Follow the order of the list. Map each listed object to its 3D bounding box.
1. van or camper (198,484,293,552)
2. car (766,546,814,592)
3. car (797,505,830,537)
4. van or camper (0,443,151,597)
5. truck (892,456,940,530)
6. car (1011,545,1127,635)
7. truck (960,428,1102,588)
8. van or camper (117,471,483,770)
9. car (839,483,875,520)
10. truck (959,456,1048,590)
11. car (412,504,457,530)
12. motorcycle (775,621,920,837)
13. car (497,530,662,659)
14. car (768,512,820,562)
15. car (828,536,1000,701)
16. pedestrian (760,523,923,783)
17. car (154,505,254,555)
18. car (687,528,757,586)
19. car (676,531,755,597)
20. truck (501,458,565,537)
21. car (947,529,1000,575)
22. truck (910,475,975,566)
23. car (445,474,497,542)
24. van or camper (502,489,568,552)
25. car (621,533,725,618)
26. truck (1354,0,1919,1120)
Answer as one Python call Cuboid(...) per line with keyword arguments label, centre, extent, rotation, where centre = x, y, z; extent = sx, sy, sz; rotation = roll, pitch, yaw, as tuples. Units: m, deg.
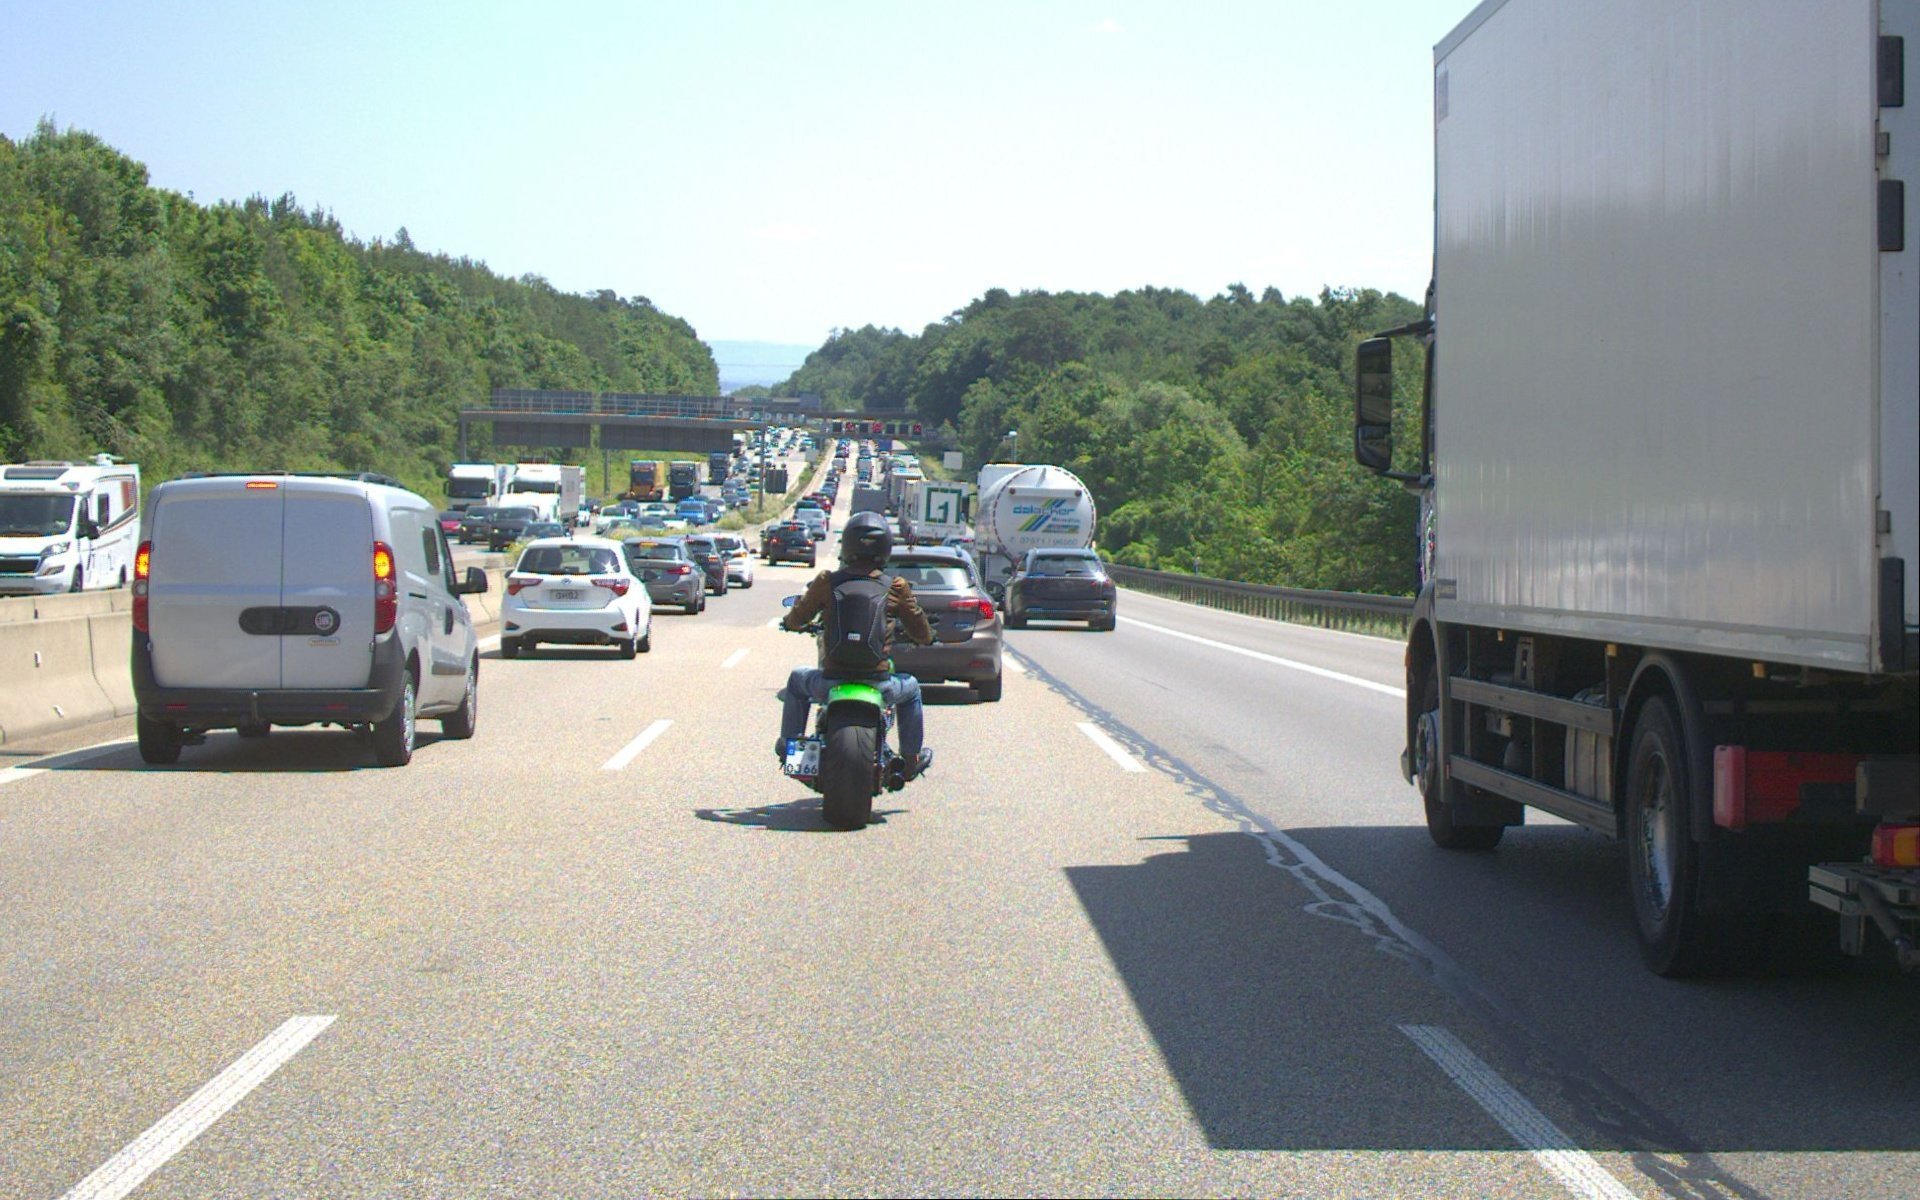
Cuboid(label="van or camper", centre=(-20.966, -2.413, 100.963), extent=(2.076, 1.970, 3.705), rotation=(0, 1, -1))
Cuboid(label="car", centre=(-7.480, -1.387, 151.892), extent=(1.993, 2.007, 4.000), rotation=(0, 1, -1))
Cuboid(label="car", centre=(-9.151, -4.920, 214.750), extent=(1.929, 2.007, 4.000), rotation=(0, 1, -1))
Cuboid(label="van or camper", centre=(-16.942, -1.458, 64.163), extent=(2.269, 2.726, 6.806), rotation=(0, 1, -2))
Cuboid(label="truck", centre=(-3.201, -7.727, 248.688), extent=(3.033, 5.121, 9.984), rotation=(3, 2, -2))
Cuboid(label="car", centre=(1.955, -0.205, 62.807), extent=(1.828, 1.465, 4.001), rotation=(3, 2, -1))
Cuboid(label="truck", centre=(1.623, -2.156, 83.117), extent=(2.988, 3.659, 9.288), rotation=(0, 1, -1))
Cuboid(label="van or camper", centre=(-4.453, 0.103, 23.793), extent=(1.796, 1.886, 4.160), rotation=(0, 1, -1))
Cuboid(label="car", centre=(-7.495, -7.195, 250.484), extent=(2.504, 2.578, 5.017), rotation=(2, 2, -2))
Cuboid(label="truck", centre=(1.137, -2.041, 92.089), extent=(1.993, 3.510, 4.752), rotation=(0, 1, -4))
Cuboid(label="car", centre=(-27.826, -4.395, 182.186), extent=(1.762, 1.365, 4.502), rotation=(1, 1, -1))
Cuboid(label="motorcycle", centre=(-0.587, 0.668, 18.643), extent=(0.691, 1.012, 2.121), rotation=(2, 1, 0))
Cuboid(label="car", centre=(-4.800, -0.106, 43.801), extent=(1.699, 1.473, 4.001), rotation=(2, 2, -2))
Cuboid(label="car", centre=(-6.587, -2.530, 136.597), extent=(1.880, 1.853, 4.001), rotation=(3, 2, -1))
Cuboid(label="car", centre=(-0.405, 0.136, 33.800), extent=(1.533, 1.504, 4.000), rotation=(0, 1, 1))
Cuboid(label="pedestrian", centre=(-0.625, 0.267, 18.485), extent=(0.849, 1.357, 0.961), rotation=(0, 1, 0))
Cuboid(label="car", centre=(-20.896, -1.944, 95.174), extent=(1.801, 1.342, 4.724), rotation=(1, 1, -1))
Cuboid(label="car", centre=(-6.550, -1.211, 94.894), extent=(1.699, 1.473, 4.001), rotation=(2, 2, -2))
Cuboid(label="car", centre=(-5.916, -0.891, 83.557), extent=(1.699, 1.473, 4.001), rotation=(2, 2, -2))
Cuboid(label="truck", centre=(-23.448, -5.635, 189.042), extent=(2.840, 4.199, 5.660), rotation=(1, 1, -2))
Cuboid(label="car", centre=(0.480, -1.762, 125.418), extent=(1.787, 1.550, 3.804), rotation=(2, 2, -2))
Cuboid(label="truck", centre=(-0.982, -4.246, 182.668), extent=(3.033, 4.526, 9.984), rotation=(3, 2, -2))
Cuboid(label="car", centre=(-28.093, -5.301, 197.657), extent=(2.449, 3.860, 4.566), rotation=(0, 1, -2))
Cuboid(label="van or camper", centre=(-19.073, -3.560, 154.558), extent=(2.230, 2.751, 6.837), rotation=(1, 1, -1))
Cuboid(label="car", centre=(-5.442, -0.485, 65.537), extent=(1.699, 1.473, 4.001), rotation=(2, 2, -2))
Cuboid(label="truck", centre=(3.587, -0.704, 13.777), extent=(2.688, 3.863, 9.781), rotation=(-1, 1, -1))
